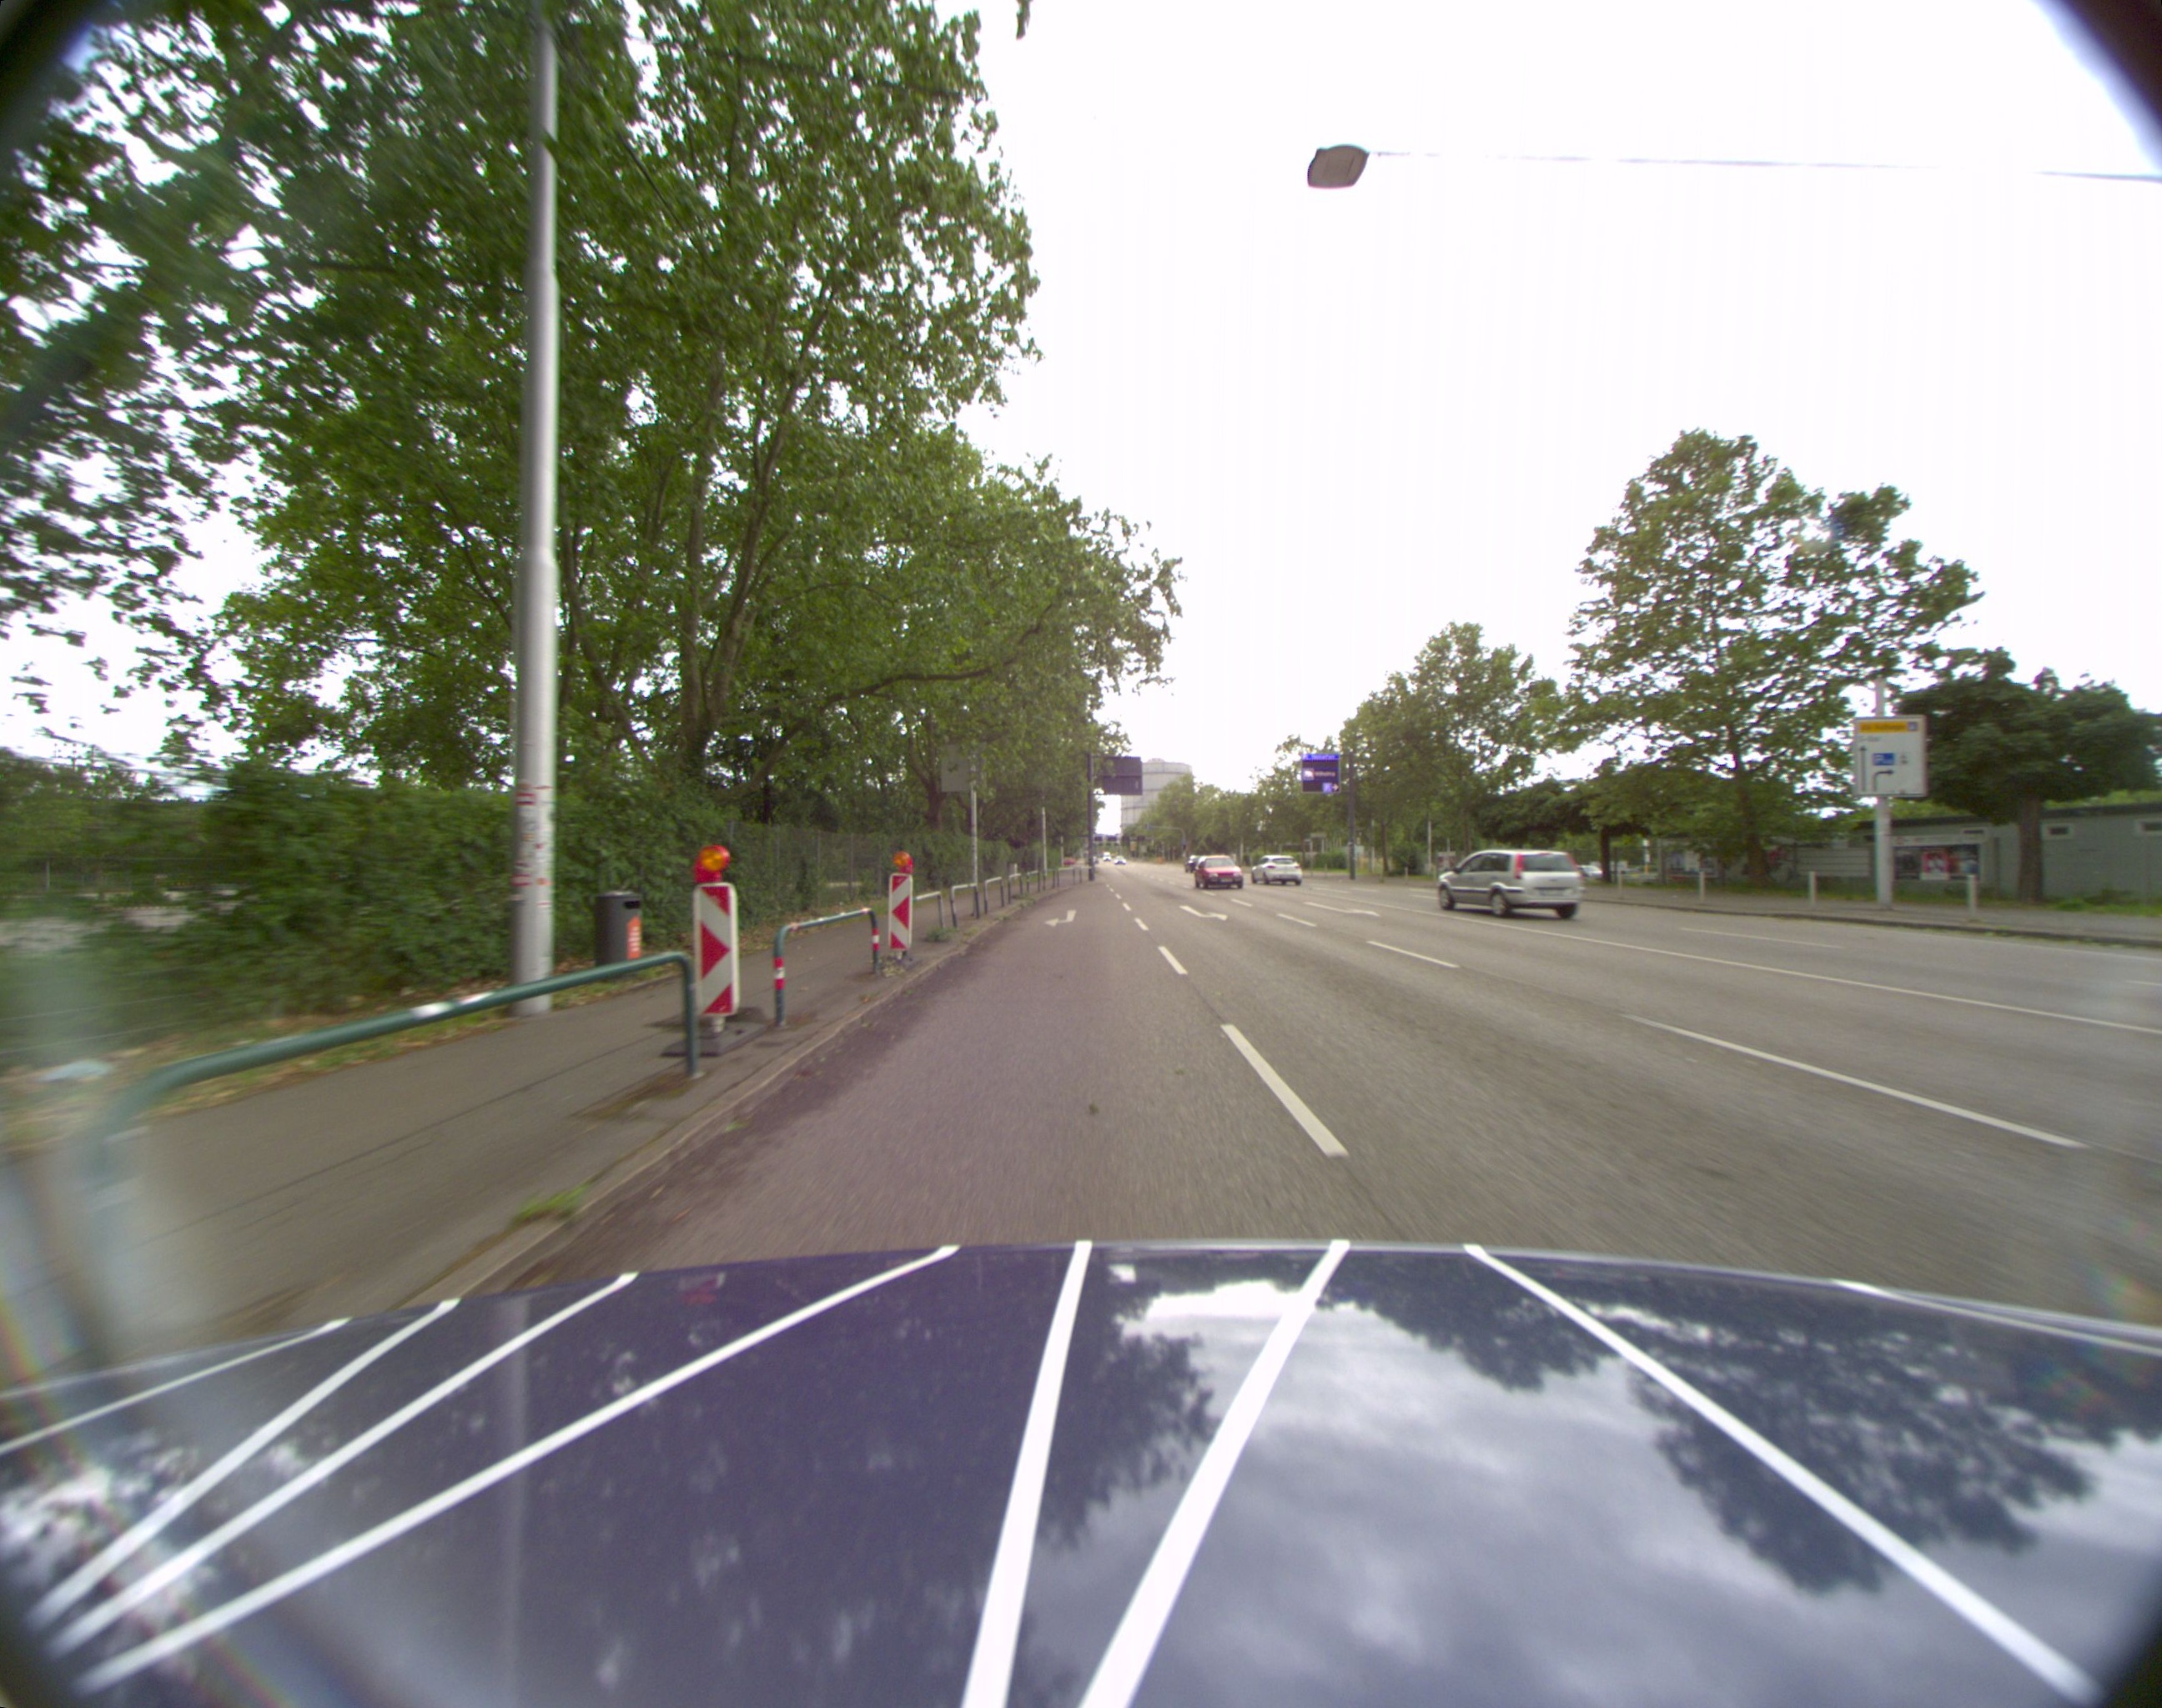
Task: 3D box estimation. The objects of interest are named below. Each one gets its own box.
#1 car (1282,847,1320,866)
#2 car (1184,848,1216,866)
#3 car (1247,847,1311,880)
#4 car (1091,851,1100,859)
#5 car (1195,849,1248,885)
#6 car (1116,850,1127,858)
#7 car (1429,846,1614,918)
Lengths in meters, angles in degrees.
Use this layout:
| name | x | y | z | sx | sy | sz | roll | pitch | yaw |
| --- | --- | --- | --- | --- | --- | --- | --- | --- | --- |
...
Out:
| name | x | y | z | sx | sy | sz | roll | pitch | yaw |
| --- | --- | --- | --- | --- | --- | --- | --- | --- | --- |
| car | 23.331 | 0.266 | 80.705 | 2.393 | 2.002 | 4.634 | 0 | 0 | -4 |
| car | 10.391 | 0.234 | 66.799 | 1.999 | 1.521 | 4.725 | 0 | 0 | -1 |
| car | 9.716 | 0.436 | 37.693 | 1.999 | 1.521 | 4.384 | -1 | 0 | 0 |
| car | 2.781 | 0.126 | 148.494 | 1.799 | 1.501 | 4.000 | 0 | 0 | 0 |
| car | 6.171 | 0.537 | 33.754 | 1.832 | 1.443 | 4.078 | -1 | 0 | 4 |
| car | 7.370 | 0.039 | 137.939 | 1.799 | 1.501 | 4.000 | 0 | 0 | 0 |
| car | 10.169 | 0.580 | 17.965 | 1.999 | 1.516 | 3.999 | 0 | 0 | -1 |
